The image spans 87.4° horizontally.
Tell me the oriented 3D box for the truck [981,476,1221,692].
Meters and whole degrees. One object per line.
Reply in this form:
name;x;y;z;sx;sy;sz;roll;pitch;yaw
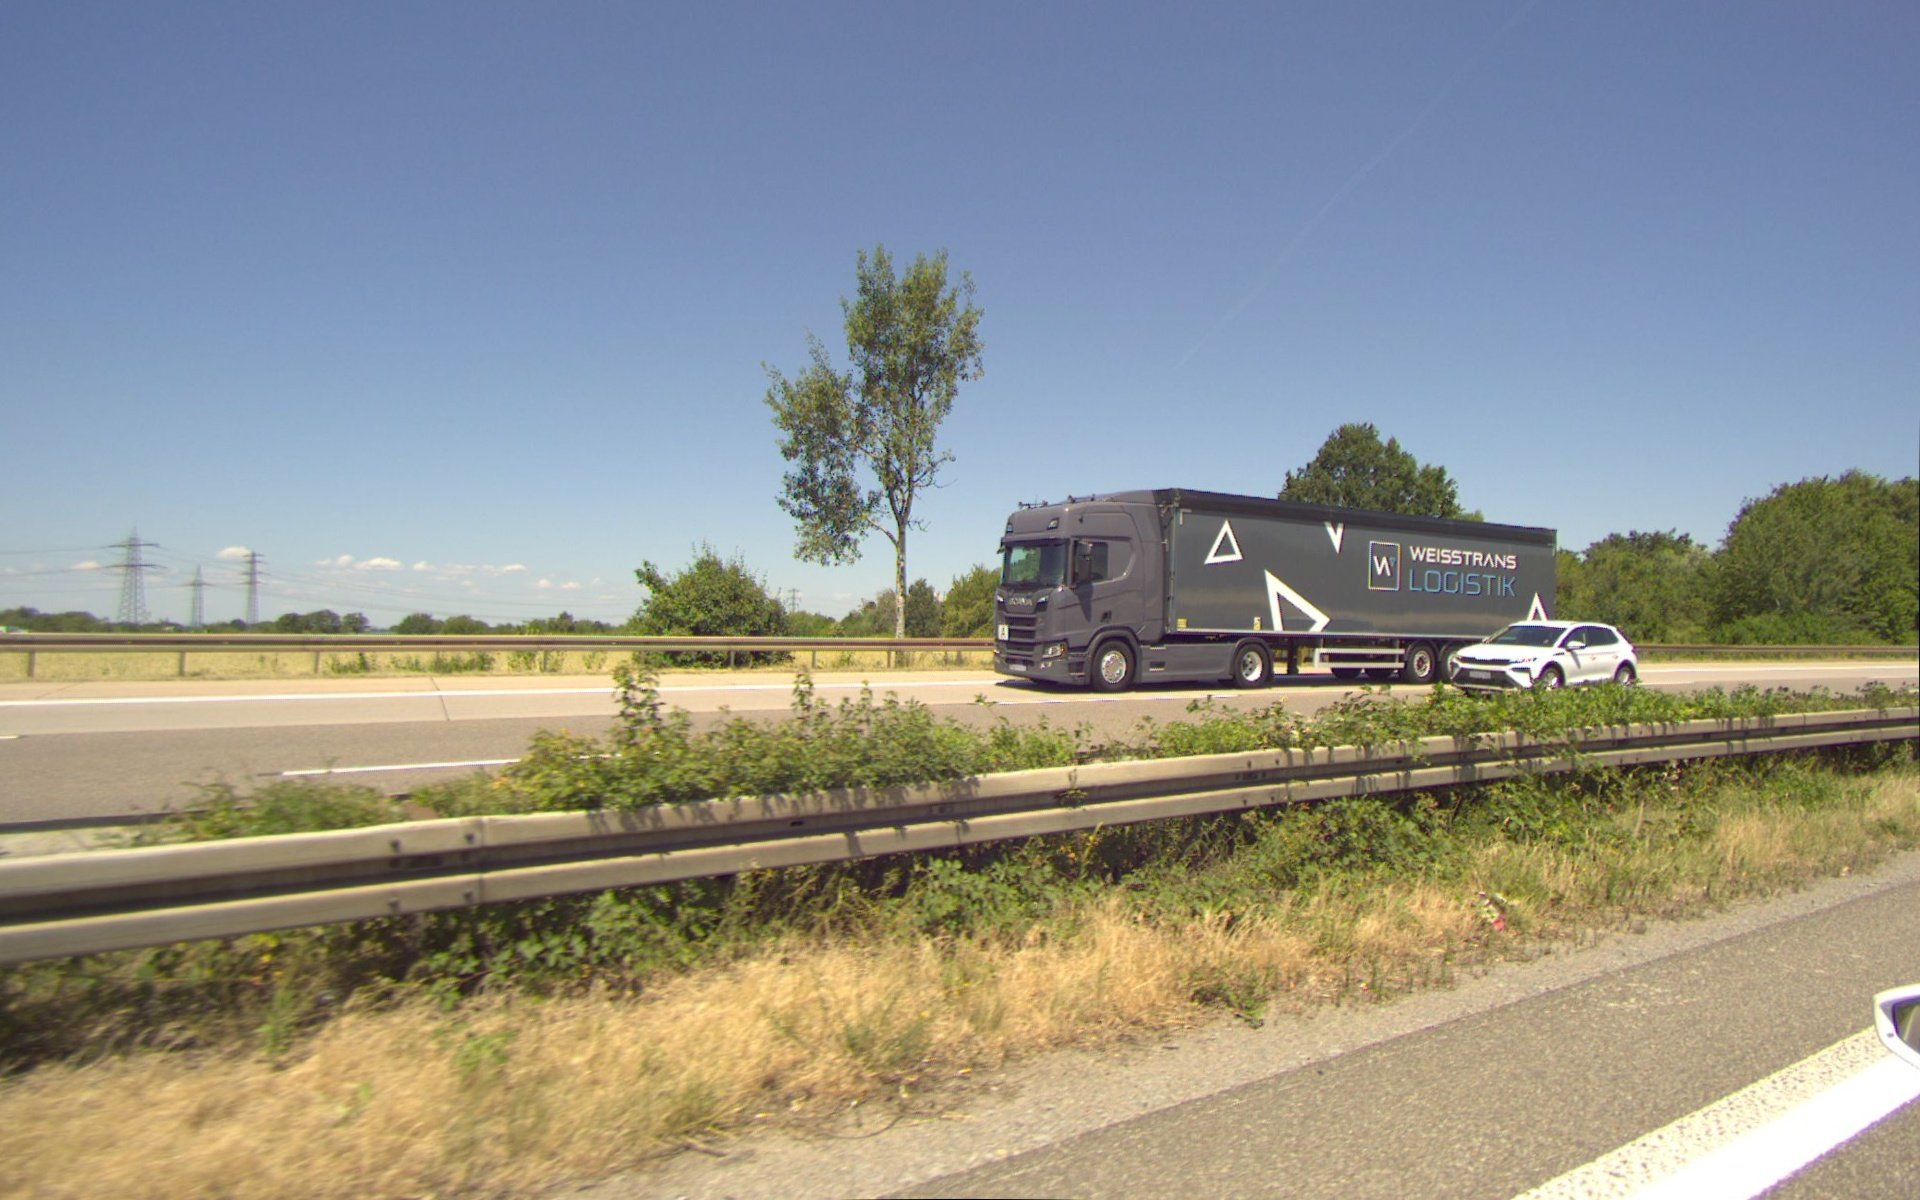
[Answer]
truck;2.877;-0.239;20.695;3.952;3.968;2.880;1;-1;-30

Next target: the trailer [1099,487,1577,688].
trailer;9.847;-0.069;24.743;13.891;4.000;2.867;2;-1;-30

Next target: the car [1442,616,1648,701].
car;12.277;1.179;21.009;4.437;1.607;1.833;2;-1;-31
